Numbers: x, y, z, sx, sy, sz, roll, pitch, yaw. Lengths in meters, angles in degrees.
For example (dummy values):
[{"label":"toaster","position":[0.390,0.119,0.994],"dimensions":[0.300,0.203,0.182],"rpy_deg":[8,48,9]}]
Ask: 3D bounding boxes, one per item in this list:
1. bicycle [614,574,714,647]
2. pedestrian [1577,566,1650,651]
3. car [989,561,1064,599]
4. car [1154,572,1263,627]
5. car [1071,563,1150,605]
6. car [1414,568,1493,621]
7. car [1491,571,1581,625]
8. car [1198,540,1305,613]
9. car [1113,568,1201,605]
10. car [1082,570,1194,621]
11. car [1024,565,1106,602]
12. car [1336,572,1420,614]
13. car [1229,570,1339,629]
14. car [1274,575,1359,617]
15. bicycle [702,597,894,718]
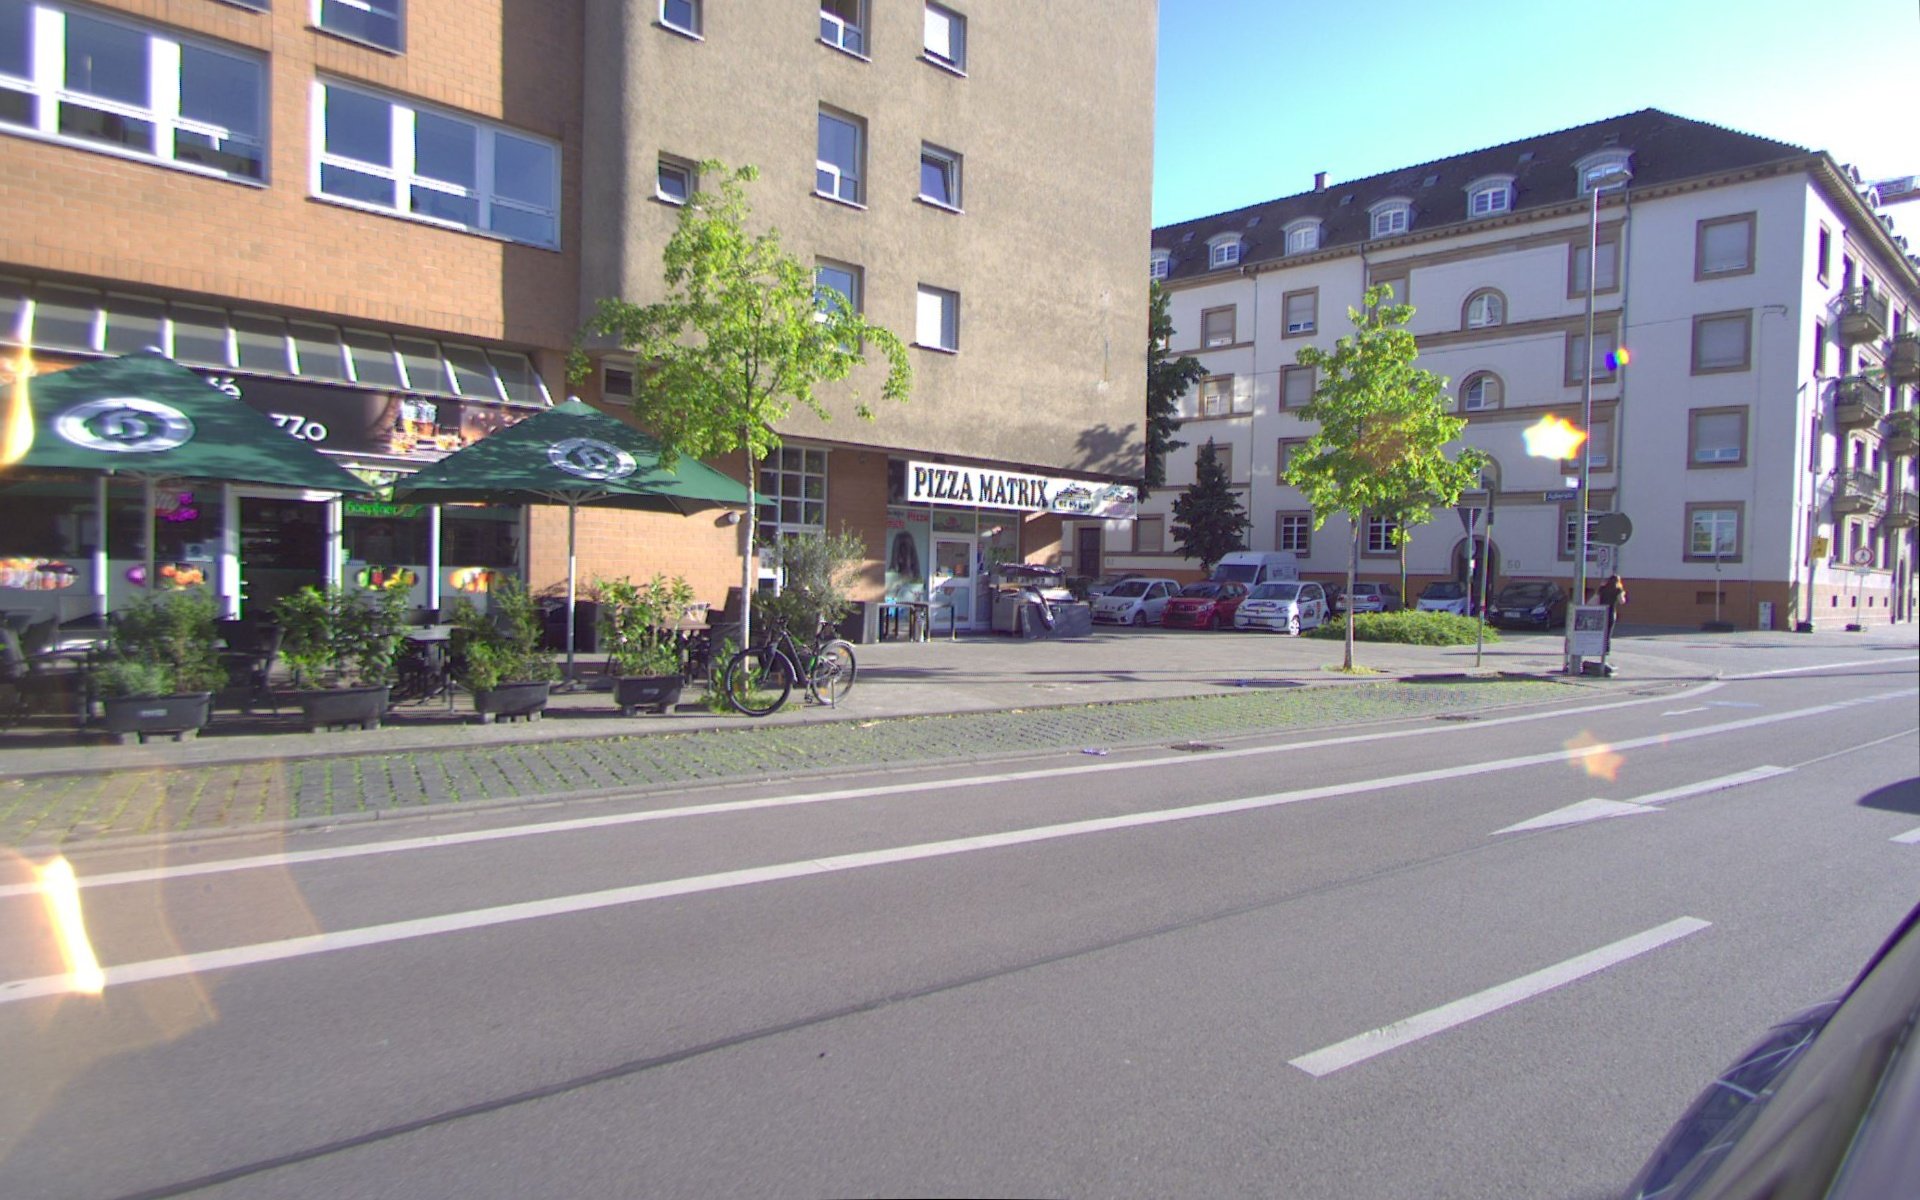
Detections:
[{"label":"bicycle","position":[-5.114,0.171,17.528],"dimensions":[1.511,1.183,0.614],"rpy_deg":[0,3,-43]},{"label":"pedestrian","position":[14.384,0.174,22.288],"dimensions":[1.083,1.784,0.888],"rpy_deg":[0,4,-30]},{"label":"car","position":[3.207,-0.915,48.571],"dimensions":[1.687,1.749,3.945],"rpy_deg":[0,0,38]},{"label":"car","position":[7.233,-0.014,29.296],"dimensions":[1.630,1.471,3.602],"rpy_deg":[0,0,41]},{"label":"car","position":[6.709,-0.673,44.817],"dimensions":[1.538,1.761,3.937],"rpy_deg":[0,0,43]},{"label":"car","position":[17.580,-0.257,35.974],"dimensions":[1.620,1.707,4.379],"rpy_deg":[1,3,38]},{"label":"car","position":[19.399,-0.056,33.985],"dimensions":[1.692,1.708,4.371],"rpy_deg":[0,0,43]},{"label":"car","position":[11.660,-1.025,40.199],"dimensions":[1.920,2.640,5.881],"rpy_deg":[2,4,39]},{"label":"car","position":[8.394,-0.558,43.013],"dimensions":[3.932,1.509,1.692],"rpy_deg":[0,0,-43]},{"label":"car","position":[5.473,-0.135,30.932],"dimensions":[1.632,1.473,3.675],"rpy_deg":[0,0,44]},{"label":"car","position":[4.861,-0.739,46.394],"dimensions":[1.690,1.636,3.936],"rpy_deg":[0,0,44]},{"label":"car","position":[15.518,-0.287,37.476],"dimensions":[1.690,1.447,4.377],"rpy_deg":[0,1,39]},{"label":"car","position":[8.976,-0.011,27.842],"dimensions":[1.659,1.493,3.783],"rpy_deg":[0,0,39]},{"label":"car","position":[13.949,-0.185,39.441],"dimensions":[1.690,1.497,4.375],"rpy_deg":[0,1,40]},{"label":"bicycle","position":[-1.762,0.585,11.221],"dimensions":[1.964,1.093,0.767],"rpy_deg":[-2,8,-43]}]
